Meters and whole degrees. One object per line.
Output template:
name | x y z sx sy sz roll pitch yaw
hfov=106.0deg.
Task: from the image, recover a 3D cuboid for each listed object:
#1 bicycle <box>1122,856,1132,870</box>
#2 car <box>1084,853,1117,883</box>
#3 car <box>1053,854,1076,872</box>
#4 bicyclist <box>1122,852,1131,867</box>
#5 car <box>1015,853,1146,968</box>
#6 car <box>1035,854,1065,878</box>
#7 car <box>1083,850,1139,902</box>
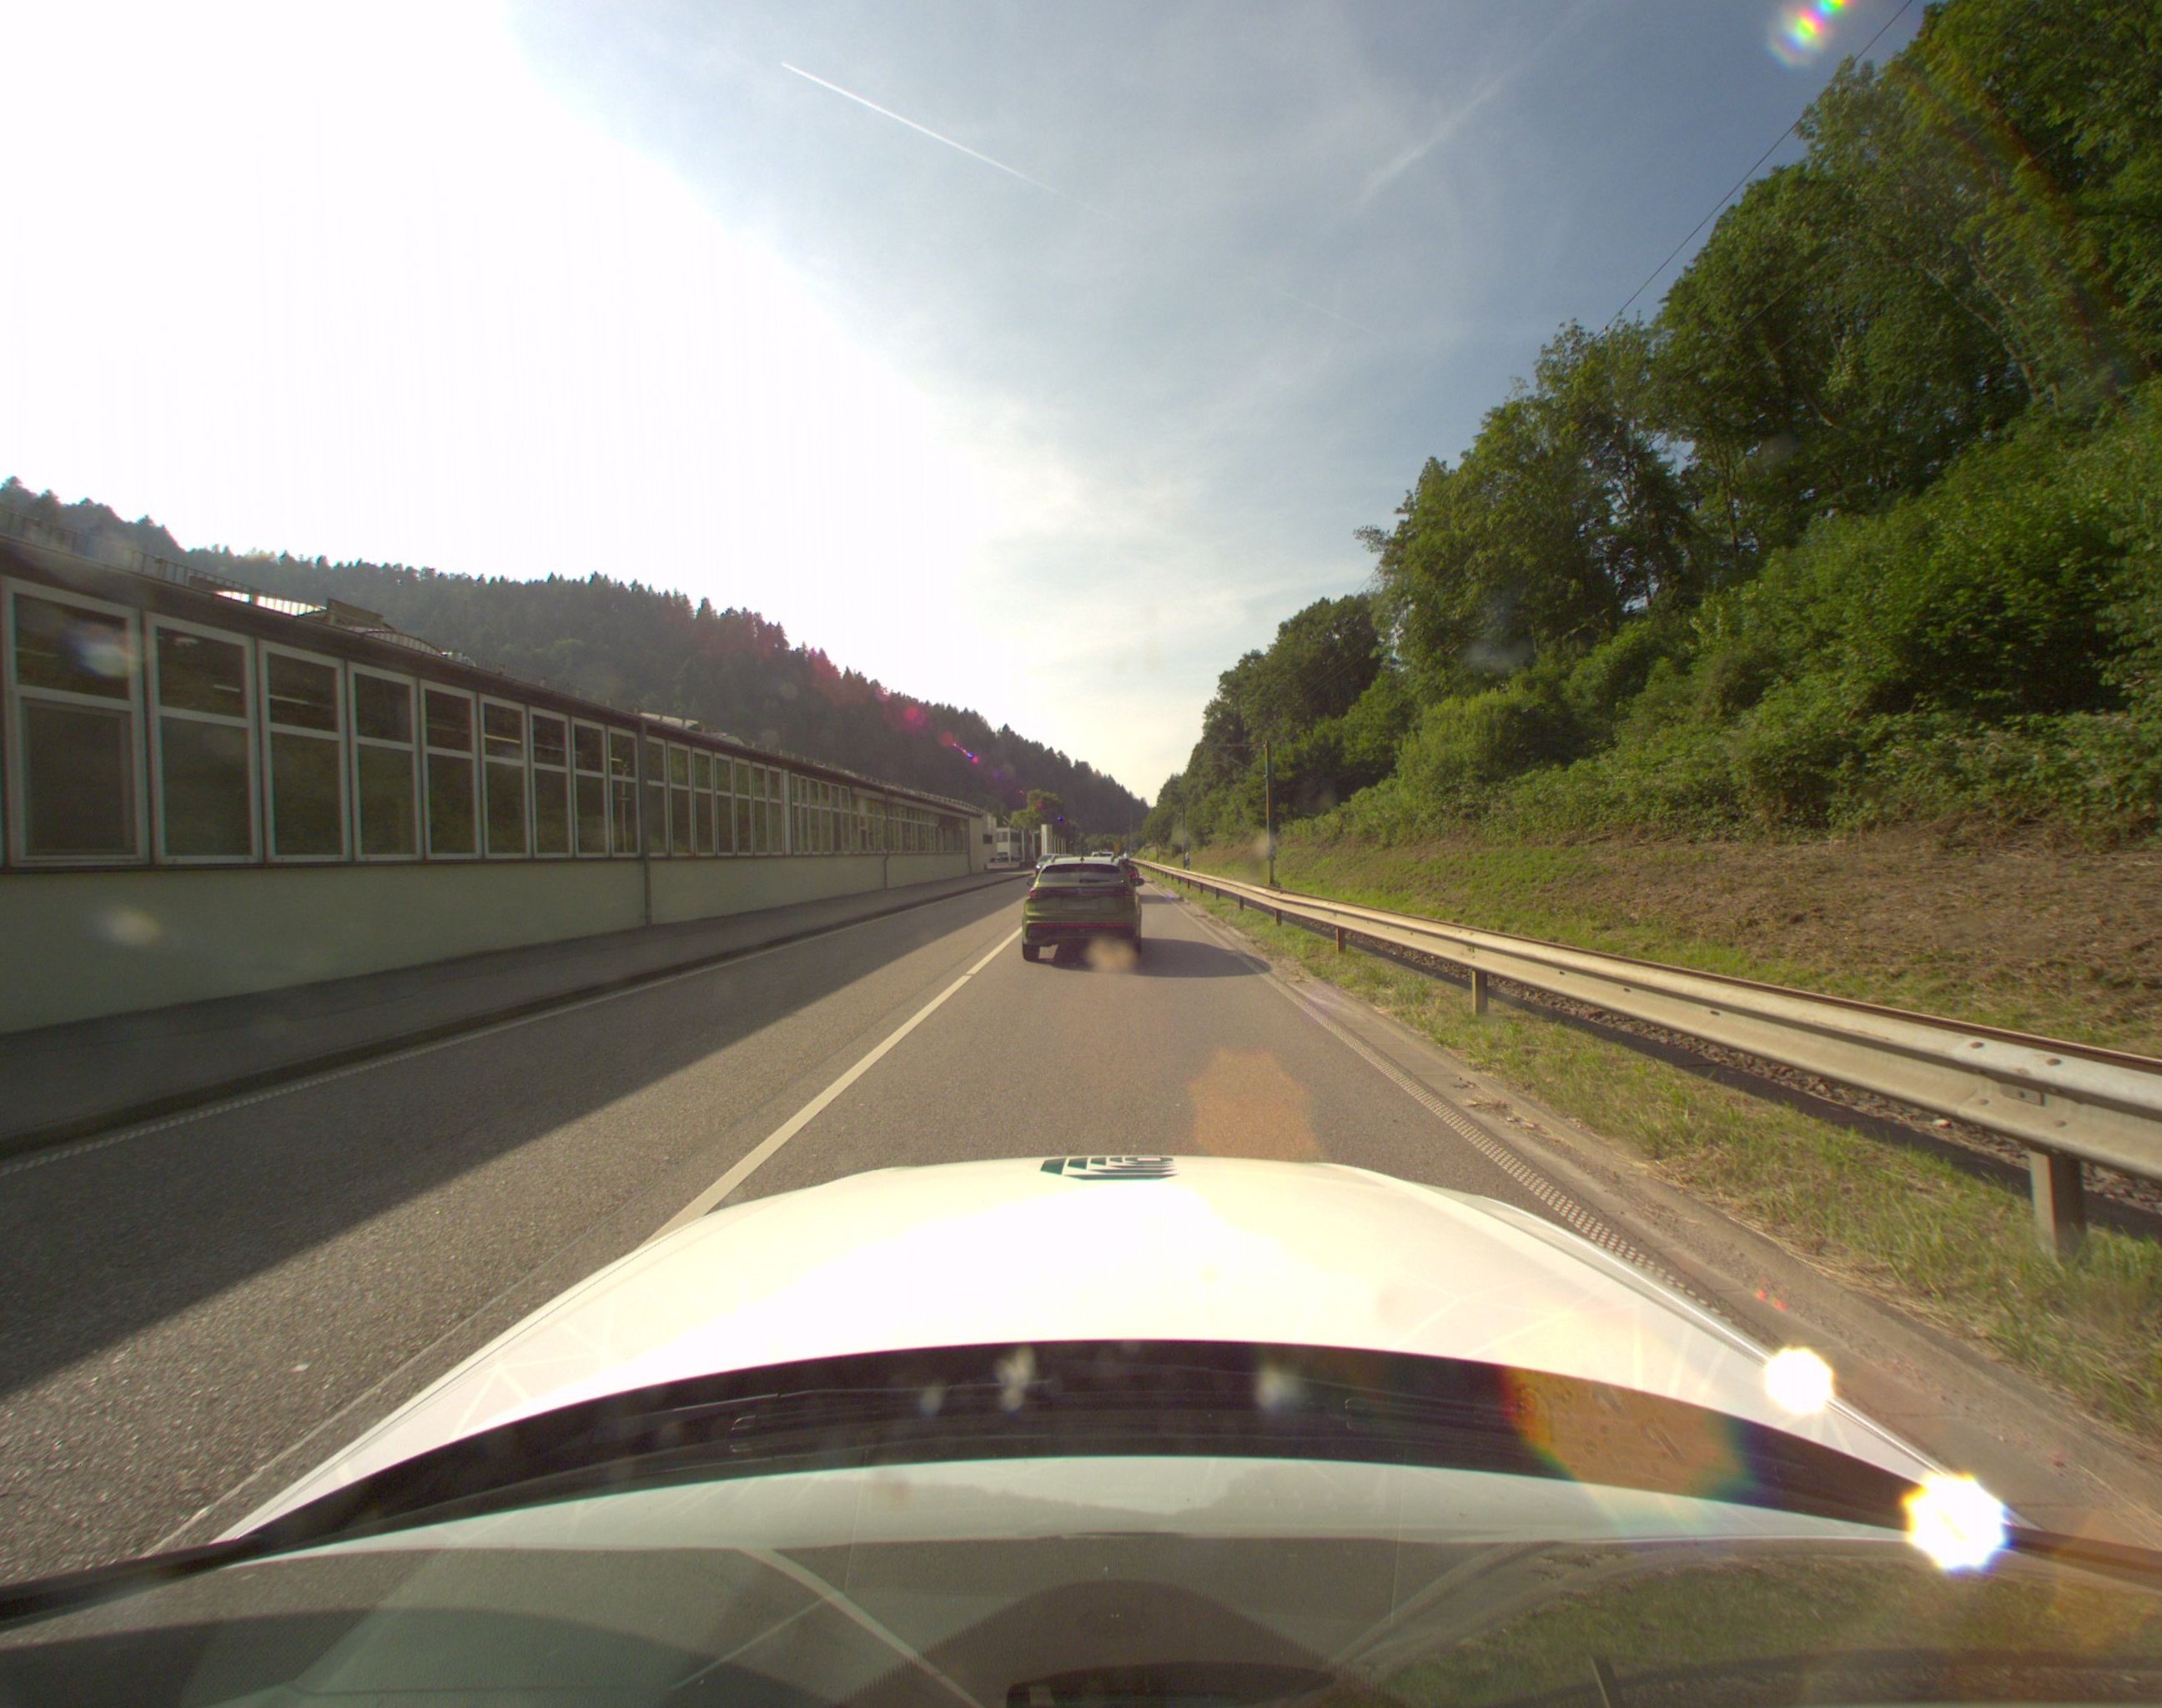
bicycle | 4.309 0.837 75.986 0.809 1.250 2.122 -1 0 0
car | 1.084 0.752 45.627 1.733 1.602 4.001 -1 0 1
car | -1.421 0.777 71.585 1.767 1.490 4.053 0 0 2
bicyclist | 4.296 0.538 76.267 0.779 1.412 0.675 -1 0 -1
car | 0.033 0.758 12.915 1.733 1.508 4.001 -1 0 1
car | -1.999 0.768 53.914 1.713 1.514 4.200 0 0 2
car | 0.988 0.697 27.449 1.733 1.602 4.001 -1 0 1
